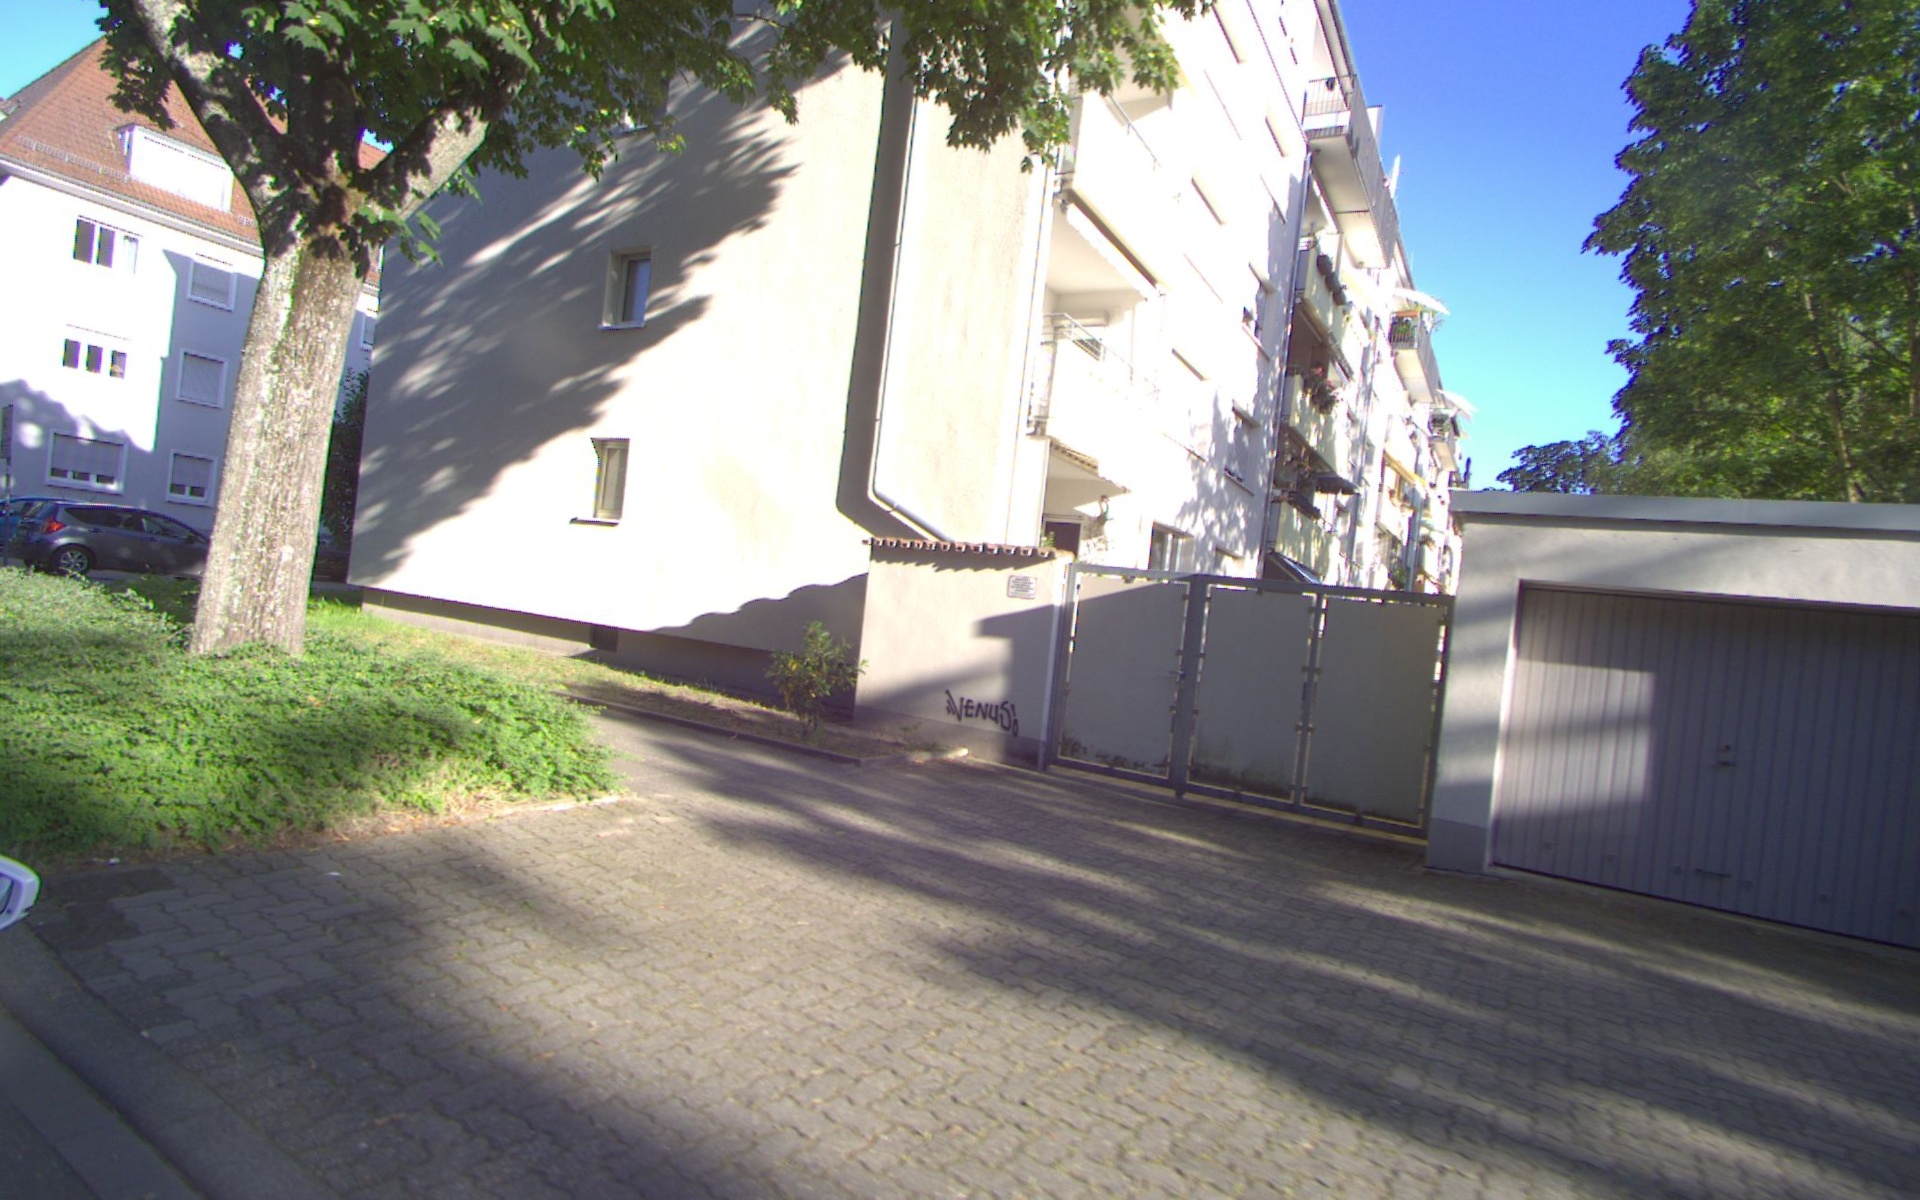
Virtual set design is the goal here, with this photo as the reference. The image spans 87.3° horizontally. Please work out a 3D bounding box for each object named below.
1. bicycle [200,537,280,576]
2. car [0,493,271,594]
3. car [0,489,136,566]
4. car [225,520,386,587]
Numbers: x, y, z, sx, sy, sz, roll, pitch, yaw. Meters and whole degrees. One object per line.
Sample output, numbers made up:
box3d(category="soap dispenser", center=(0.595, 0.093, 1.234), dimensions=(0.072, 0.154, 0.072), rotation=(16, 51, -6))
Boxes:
box3d(category="bicycle", center=(-22.683, -1.356, 31.736), dimensions=(0.474, 0.936, 1.968), rotation=(8, -1, 28))
box3d(category="car", center=(-17.396, -1.138, 21.443), dimensions=(1.697, 1.532, 4.050), rotation=(5, -2, 28))
box3d(category="car", center=(-23.805, -1.932, 25.532), dimensions=(1.778, 1.601, 3.996), rotation=(8, 0, 27))
box3d(category="car", center=(-20.492, -1.413, 31.672), dimensions=(1.620, 1.515, 3.832), rotation=(7, -1, 29))
